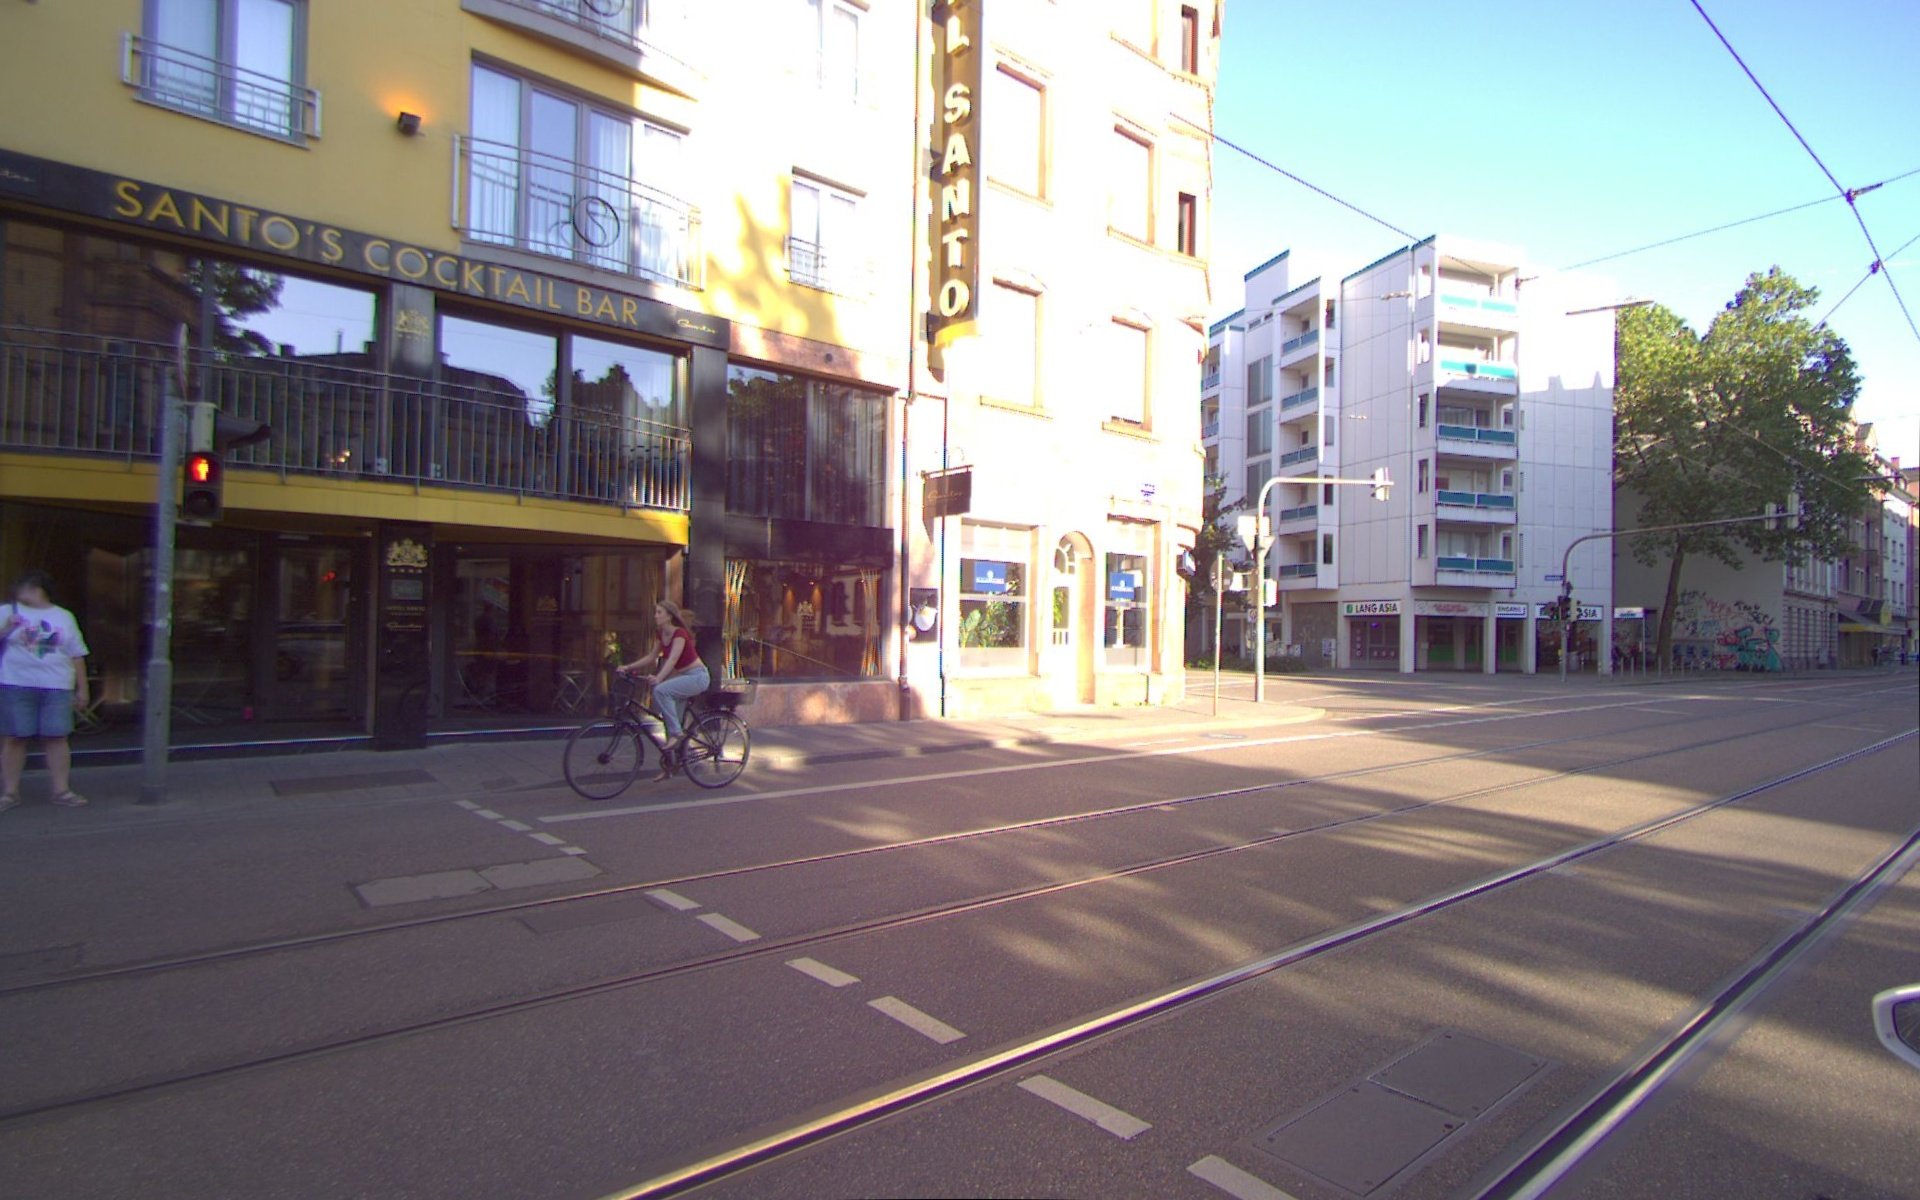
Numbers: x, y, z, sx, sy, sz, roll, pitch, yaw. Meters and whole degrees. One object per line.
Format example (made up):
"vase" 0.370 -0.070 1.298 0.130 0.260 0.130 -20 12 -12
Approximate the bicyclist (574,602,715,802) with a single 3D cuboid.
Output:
"bicyclist" -2.809 0.867 8.956 0.983 1.665 0.695 2 -2 -41

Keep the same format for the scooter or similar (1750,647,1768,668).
"scooter or similar" 42.908 3.084 53.931 1.467 1.071 0.512 2 -2 -42

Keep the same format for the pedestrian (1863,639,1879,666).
"pedestrian" 59.538 3.445 65.646 0.642 1.751 0.695 2 -2 -40

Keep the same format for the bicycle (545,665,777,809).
"bicycle" -2.662 1.176 9.082 1.884 1.124 0.690 2 -2 -42

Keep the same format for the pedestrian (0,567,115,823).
"pedestrian" -7.178 0.698 7.928 0.748 1.843 1.033 1 3 -41

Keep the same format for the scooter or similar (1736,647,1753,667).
"scooter or similar" 42.489 3.090 54.392 1.467 1.059 0.512 2 -2 -42
